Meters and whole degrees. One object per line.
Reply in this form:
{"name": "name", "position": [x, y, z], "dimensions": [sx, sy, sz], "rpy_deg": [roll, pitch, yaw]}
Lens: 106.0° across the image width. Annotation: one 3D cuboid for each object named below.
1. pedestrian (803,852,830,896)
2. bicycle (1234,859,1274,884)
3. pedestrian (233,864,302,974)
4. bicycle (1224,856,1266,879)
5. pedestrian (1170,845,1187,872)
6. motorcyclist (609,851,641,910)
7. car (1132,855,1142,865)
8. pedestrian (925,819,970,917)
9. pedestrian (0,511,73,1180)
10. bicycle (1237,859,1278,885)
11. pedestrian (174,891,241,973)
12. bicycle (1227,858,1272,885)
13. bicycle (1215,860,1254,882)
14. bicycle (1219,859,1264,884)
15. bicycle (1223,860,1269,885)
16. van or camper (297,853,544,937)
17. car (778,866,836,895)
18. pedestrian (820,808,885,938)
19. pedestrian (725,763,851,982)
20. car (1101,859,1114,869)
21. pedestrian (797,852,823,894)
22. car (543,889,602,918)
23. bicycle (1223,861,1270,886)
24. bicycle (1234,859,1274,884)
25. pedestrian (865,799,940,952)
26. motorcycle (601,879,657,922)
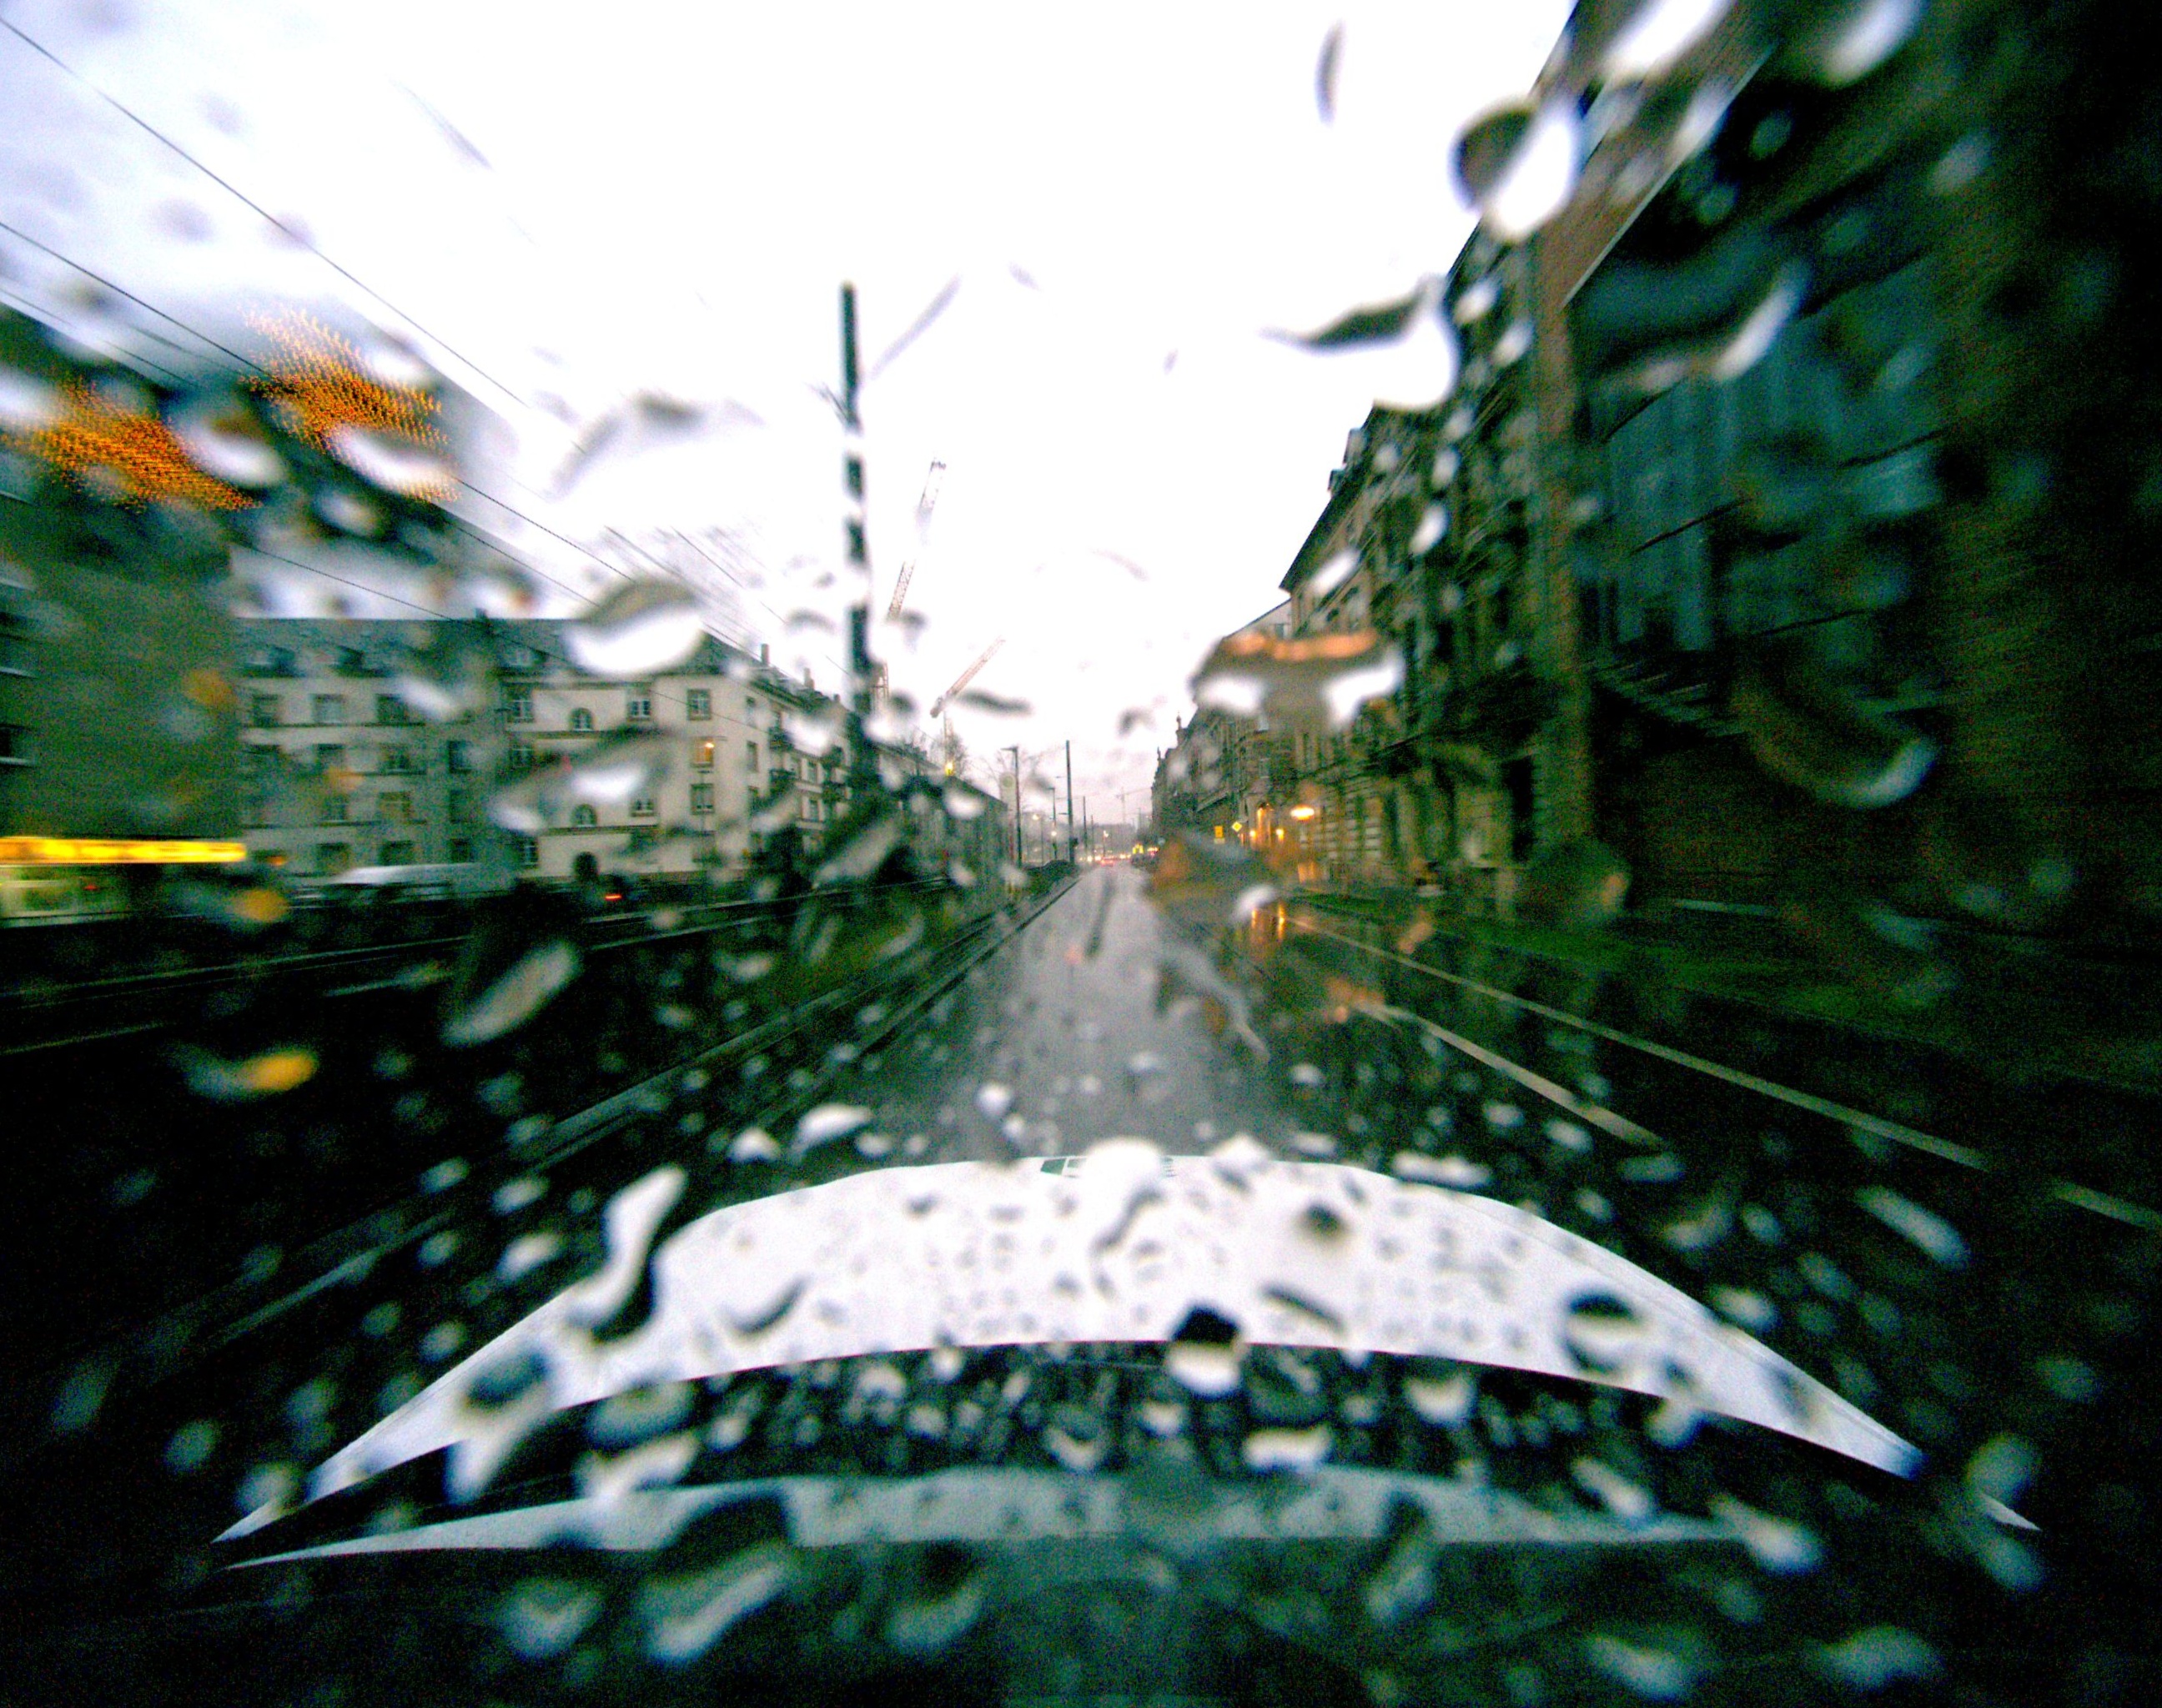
{"name": "pedestrian", "position": [-10.963, 0.815, 33.727], "dimensions": [0.802, 1.780, 0.813], "rpy_deg": [-1, -1, -40]}
{"name": "bicycle", "position": [7.915, 0.805, 37.308], "dimensions": [1.724, 1.055, 0.371], "rpy_deg": [-4, 0, 0]}
{"name": "pedestrian", "position": [-11.859, 0.920, 11.889], "dimensions": [0.640, 1.524, 0.747], "rpy_deg": [-1, -1, -40]}
{"name": "bicycle", "position": [8.687, 0.714, 43.147], "dimensions": [2.081, 1.052, 0.478], "rpy_deg": [-4, 0, 0]}
{"name": "pedestrian", "position": [7.447, 0.316, 62.435], "dimensions": [0.858, 2.013, 0.910], "rpy_deg": [-2, 0, -28]}
{"name": "motorcyclist", "position": [-11.881, 0.685, 21.224], "dimensions": [0.498, 1.496, 0.556], "rpy_deg": [-1, 0, -3]}
{"name": "car", "position": [9.950, 0.996, 144.637], "dimensions": [1.791, 1.604, 3.774], "rpy_deg": [-3, 0, 4]}
{"name": "pedestrian", "position": [-2.976, 0.312, 18.249], "dimensions": [0.807, 2.110, 0.804], "rpy_deg": [-2, 0, -1]}
{"name": "pedestrian", "position": [-3.063, -0.022, 1.764], "dimensions": [0.778, 1.704, 0.769], "rpy_deg": [-2, -1, -17]}
{"name": "bicycle", "position": [7.959, 0.800, 36.805], "dimensions": [1.724, 1.055, 0.371], "rpy_deg": [-4, 0, 0]}
{"name": "pedestrian", "position": [-12.518, 1.101, 11.685], "dimensions": [0.612, 1.103, 0.584], "rpy_deg": [-1, -1, -43]}
{"name": "bicycle", "position": [8.001, 0.841, 38.719], "dimensions": [2.001, 1.095, 0.425], "rpy_deg": [-5, 0, 0]}
{"name": "bicycle", "position": [8.356, 0.922, 44.283], "dimensions": [2.098, 1.052, 0.474], "rpy_deg": [-4, 0, -25]}
{"name": "bicycle", "position": [8.247, 0.900, 41.782], "dimensions": [2.137, 1.055, 0.425], "rpy_deg": [-5, 1, 0]}
{"name": "bicycle", "position": [8.215, 0.920, 40.541], "dimensions": [2.137, 1.055, 0.484], "rpy_deg": [-4, 0, 0]}
{"name": "van or camper", "position": [-23.490, 1.342, 29.544], "dimensions": [2.756, 2.682, 6.772], "rpy_deg": [-1, 0, 10]}
{"name": "car", "position": [-13.872, 1.320, 41.475], "dimensions": [1.676, 1.354, 3.546], "rpy_deg": [-1, -1, 1]}
{"name": "pedestrian", "position": [-3.839, 0.309, 13.742], "dimensions": [0.807, 2.110, 0.804], "rpy_deg": [-2, 0, -1]}
{"name": "pedestrian", "position": [-2.761, 0.166, 7.747], "dimensions": [0.806, 1.947, 0.805], "rpy_deg": [-2, 0, 2]}
{"name": "car", "position": [4.074, 1.570, 126.096], "dimensions": [1.776, 1.467, 3.151], "rpy_deg": [-3, 0, 4]}
{"name": "pedestrian", "position": [-11.710, 0.833, 35.243], "dimensions": [0.802, 1.780, 0.813], "rpy_deg": [-1, -1, -40]}
{"name": "car", "position": [-30.206, 2.906, 48.478], "dimensions": [1.450, 1.425, 3.313], "rpy_deg": [-3, 0, -3]}
{"name": "bicycle", "position": [8.120, 0.947, 40.023], "dimensions": [2.137, 1.055, 0.425], "rpy_deg": [-5, 1, 0]}
{"name": "bicycle", "position": [8.059, 0.810, 37.989], "dimensions": [1.724, 1.055, 0.371], "rpy_deg": [-4, 0, 0]}
{"name": "pedestrian", "position": [-2.574, 0.296, 11.811], "dimensions": [0.806, 2.110, 0.805], "rpy_deg": [-2, 0, 2]}
{"name": "motorcycle", "position": [-11.899, 1.200, 21.482], "dimensions": [0.511, 1.008, 1.805], "rpy_deg": [-1, 0, -2]}
